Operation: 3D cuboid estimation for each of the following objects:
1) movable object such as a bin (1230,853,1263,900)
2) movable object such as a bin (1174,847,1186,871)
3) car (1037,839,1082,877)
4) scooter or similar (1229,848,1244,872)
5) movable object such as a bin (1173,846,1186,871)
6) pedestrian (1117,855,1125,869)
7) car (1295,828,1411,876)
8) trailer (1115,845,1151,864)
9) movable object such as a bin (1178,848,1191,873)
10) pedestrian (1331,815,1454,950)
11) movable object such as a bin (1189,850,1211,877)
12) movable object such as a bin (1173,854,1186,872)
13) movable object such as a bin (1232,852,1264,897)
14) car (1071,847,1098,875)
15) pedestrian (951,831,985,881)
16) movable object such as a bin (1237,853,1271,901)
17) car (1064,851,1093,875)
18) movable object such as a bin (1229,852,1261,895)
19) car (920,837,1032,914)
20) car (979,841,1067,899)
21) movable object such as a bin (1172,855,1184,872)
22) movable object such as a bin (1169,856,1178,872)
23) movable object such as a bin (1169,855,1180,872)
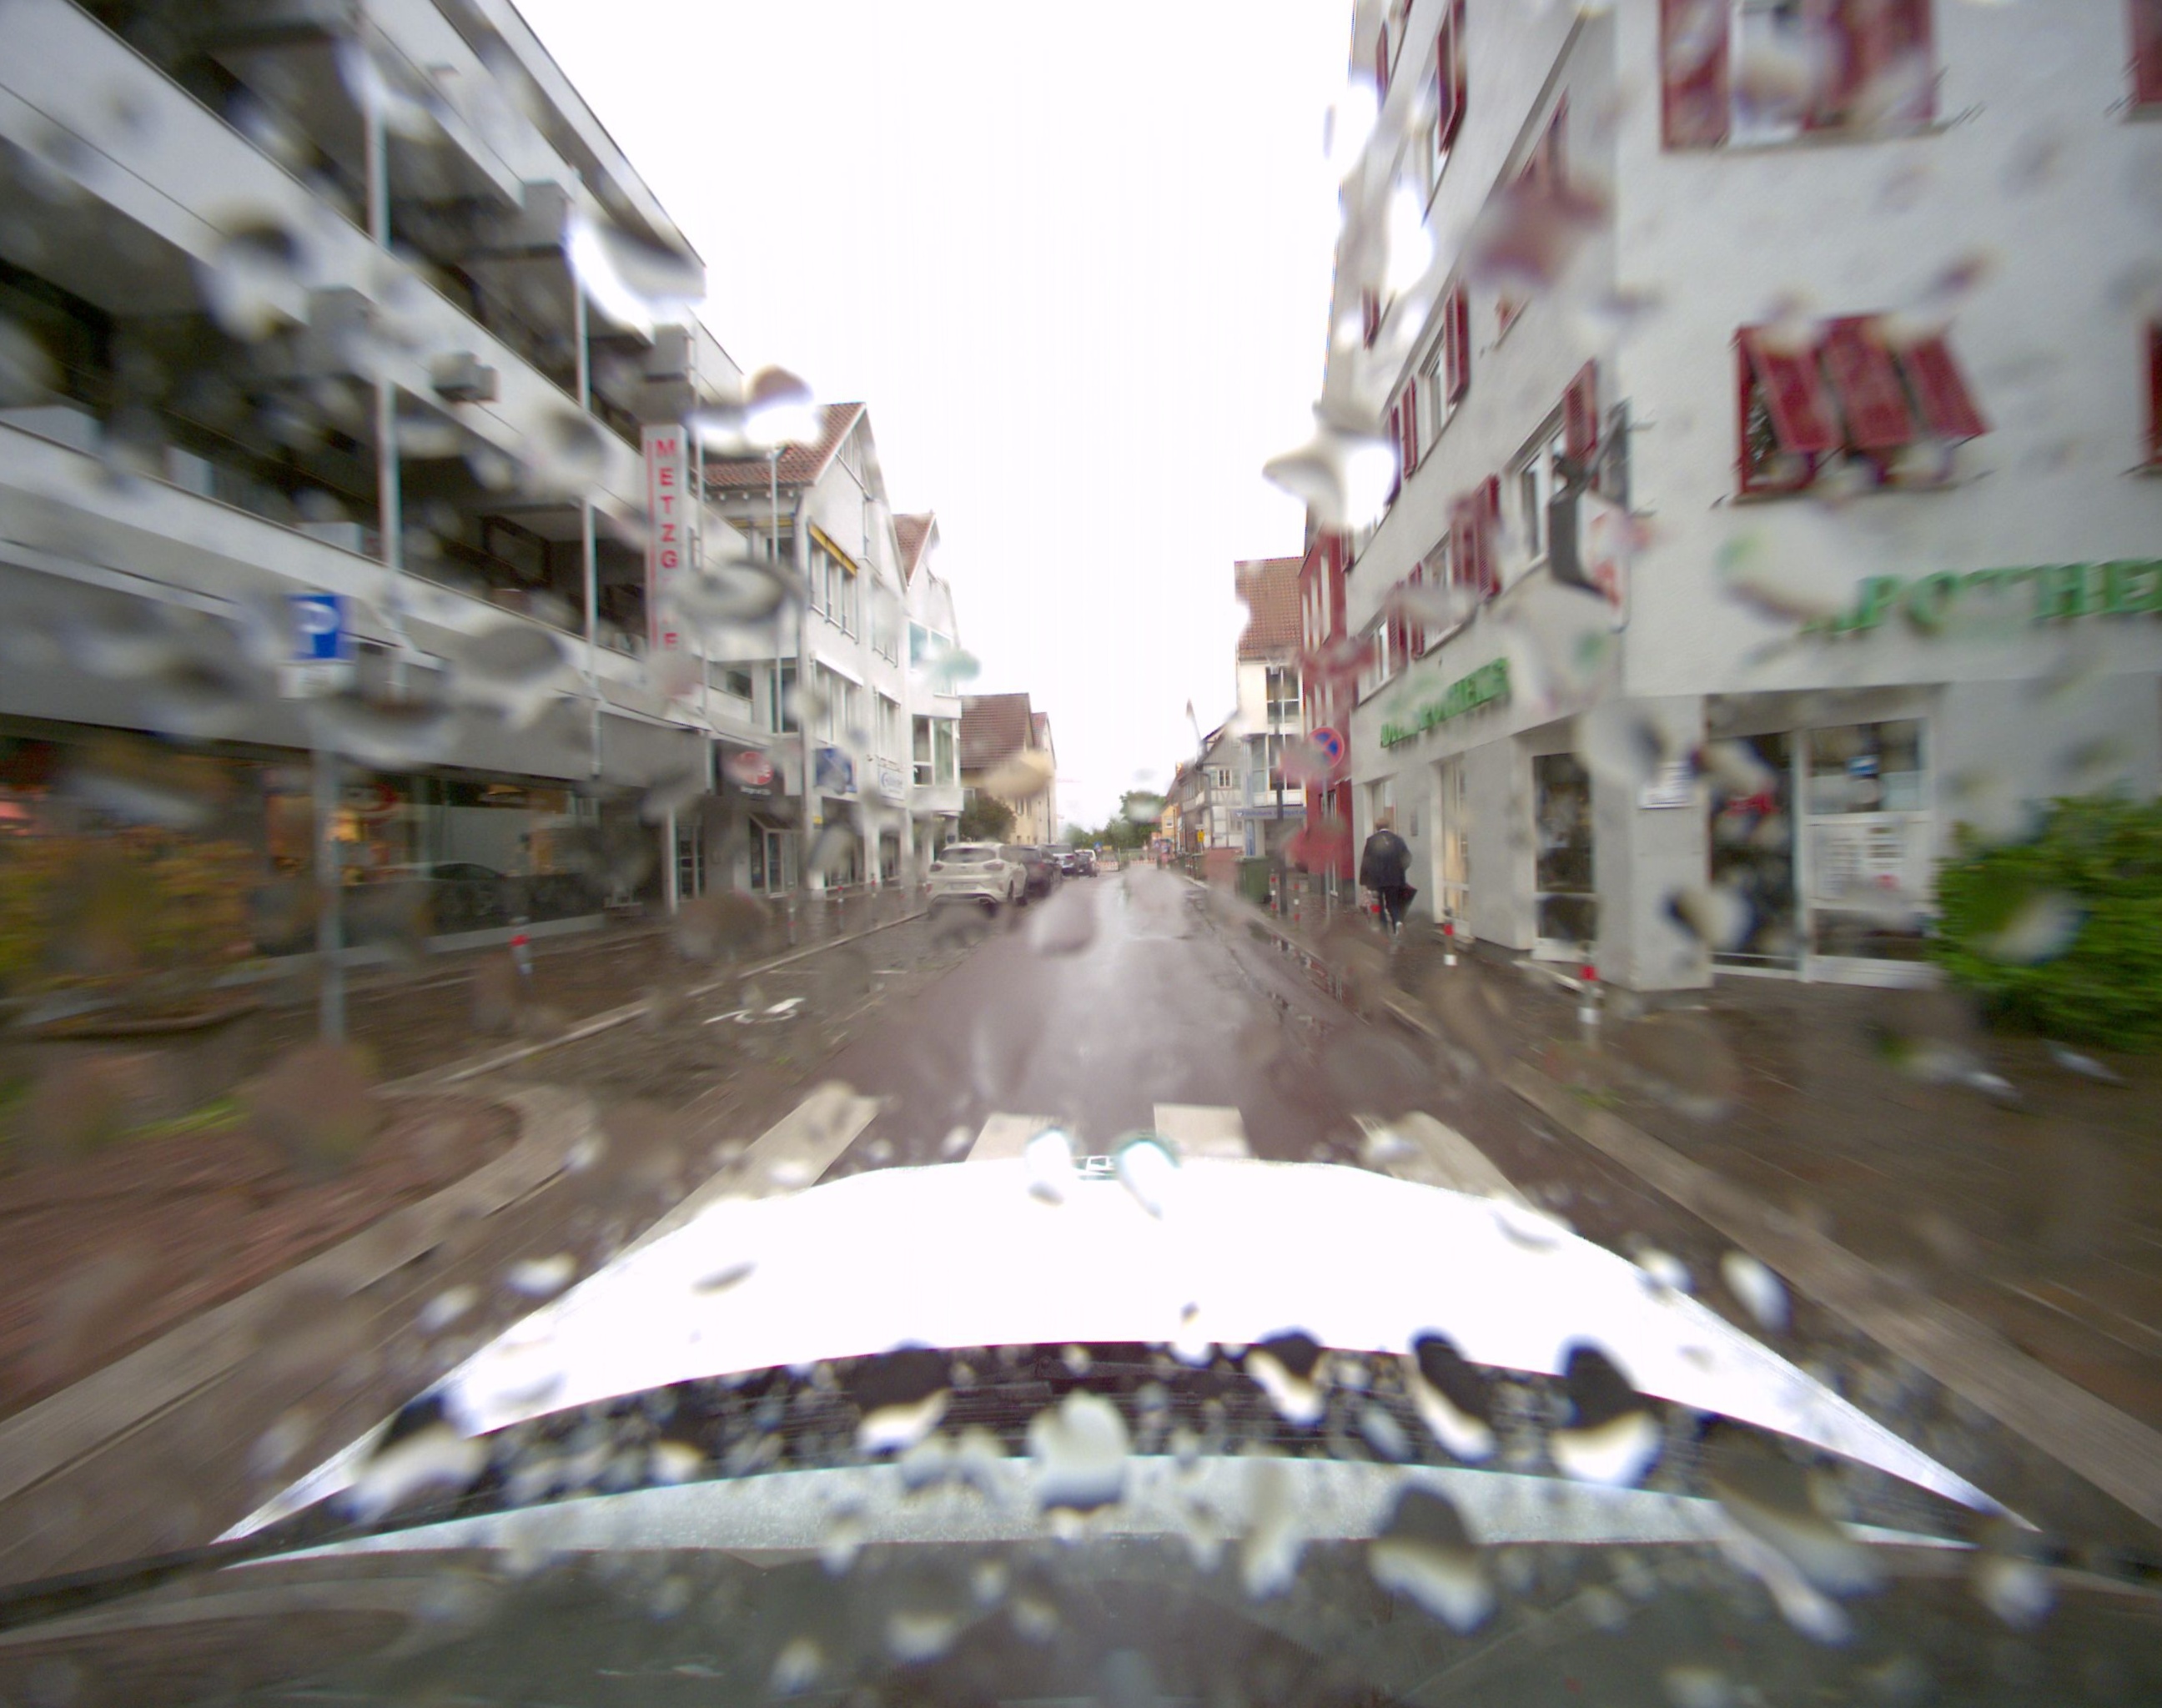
[{"bbox_3d":[3.994,0.530,19.654,0.673,1.084,0.699,-2,0,5],"label":"movable object such as a bin"},{"bbox_3d":[5.476,0.263,44.975,0.634,1.290,0.633,-2,-1,8],"label":"movable object such as a bin"},{"bbox_3d":[-0.917,0.212,36.982,1.773,1.569,4.409,-1,-1,2],"label":"car"},{"bbox_3d":[7.569,0.288,39.674,0.661,1.146,1.450,-2,-1,10],"label":"scooter or similar"},{"bbox_3d":[5.356,0.246,44.256,0.634,1.290,0.633,-2,-1,8],"label":"movable object such as a bin"},{"bbox_3d":[5.347,1.097,109.090,0.988,1.759,0.851,-1,-1,-3],"label":"pedestrian"},{"bbox_3d":[10.131,-0.052,30.630,3.958,1.514,1.919,-3,-2,14],"label":"car"},{"bbox_3d":[8.474,0.033,133.470,5.765,2.948,1.998,-1,-1,-2],"label":"trailer"},{"bbox_3d":[5.551,0.343,43.554,0.634,1.290,0.633,-2,-1,8],"label":"movable object such as a bin"},{"bbox_3d":[4.235,0.367,11.192,1.173,1.697,1.178,-3,0,1],"label":"pedestrian"},{"bbox_3d":[5.051,0.396,34.619,0.801,1.131,0.863,-1,-1,2],"label":"movable object such as a bin"},{"bbox_3d":[6.243,0.586,51.647,0.676,1.096,0.650,-1,-1,0],"label":"movable object such as a bin"},{"bbox_3d":[4.182,0.500,20.408,0.707,1.094,0.615,-2,0,5],"label":"movable object such as a bin"},{"bbox_3d":[0.284,0.516,56.067,1.717,1.825,4.429,-1,-1,1],"label":"car"},{"bbox_3d":[-4.234,0.074,30.635,1.030,1.806,1.117,-1,0,3],"label":"pedestrian"},{"bbox_3d":[4.014,0.528,18.903,0.673,1.086,0.719,-2,0,5],"label":"movable object such as a bin"},{"bbox_3d":[-0.135,0.550,50.251,1.675,1.389,3.825,-1,-1,0],"label":"car"},{"bbox_3d":[4.236,0.489,21.066,0.725,1.081,0.647,-2,0,5],"label":"movable object such as a bin"},{"bbox_3d":[-2.227,0.393,18.347,1.784,1.550,4.004,0,1,3],"label":"car"},{"bbox_3d":[-1.613,0.401,24.322,1.822,1.498,4.770,-2,0,5],"label":"car"},{"bbox_3d":[6.307,0.604,53.006,0.667,1.081,0.588,-3,-2,1],"label":"movable object such as a bin"},{"bbox_3d":[6.488,0.700,57.207,0.606,1.128,0.600,-1,-1,3],"label":"movable object such as a bin"},{"bbox_3d":[6.249,0.639,54.332,0.634,1.147,0.605,-2,-1,8],"label":"movable object such as a bin"}]
